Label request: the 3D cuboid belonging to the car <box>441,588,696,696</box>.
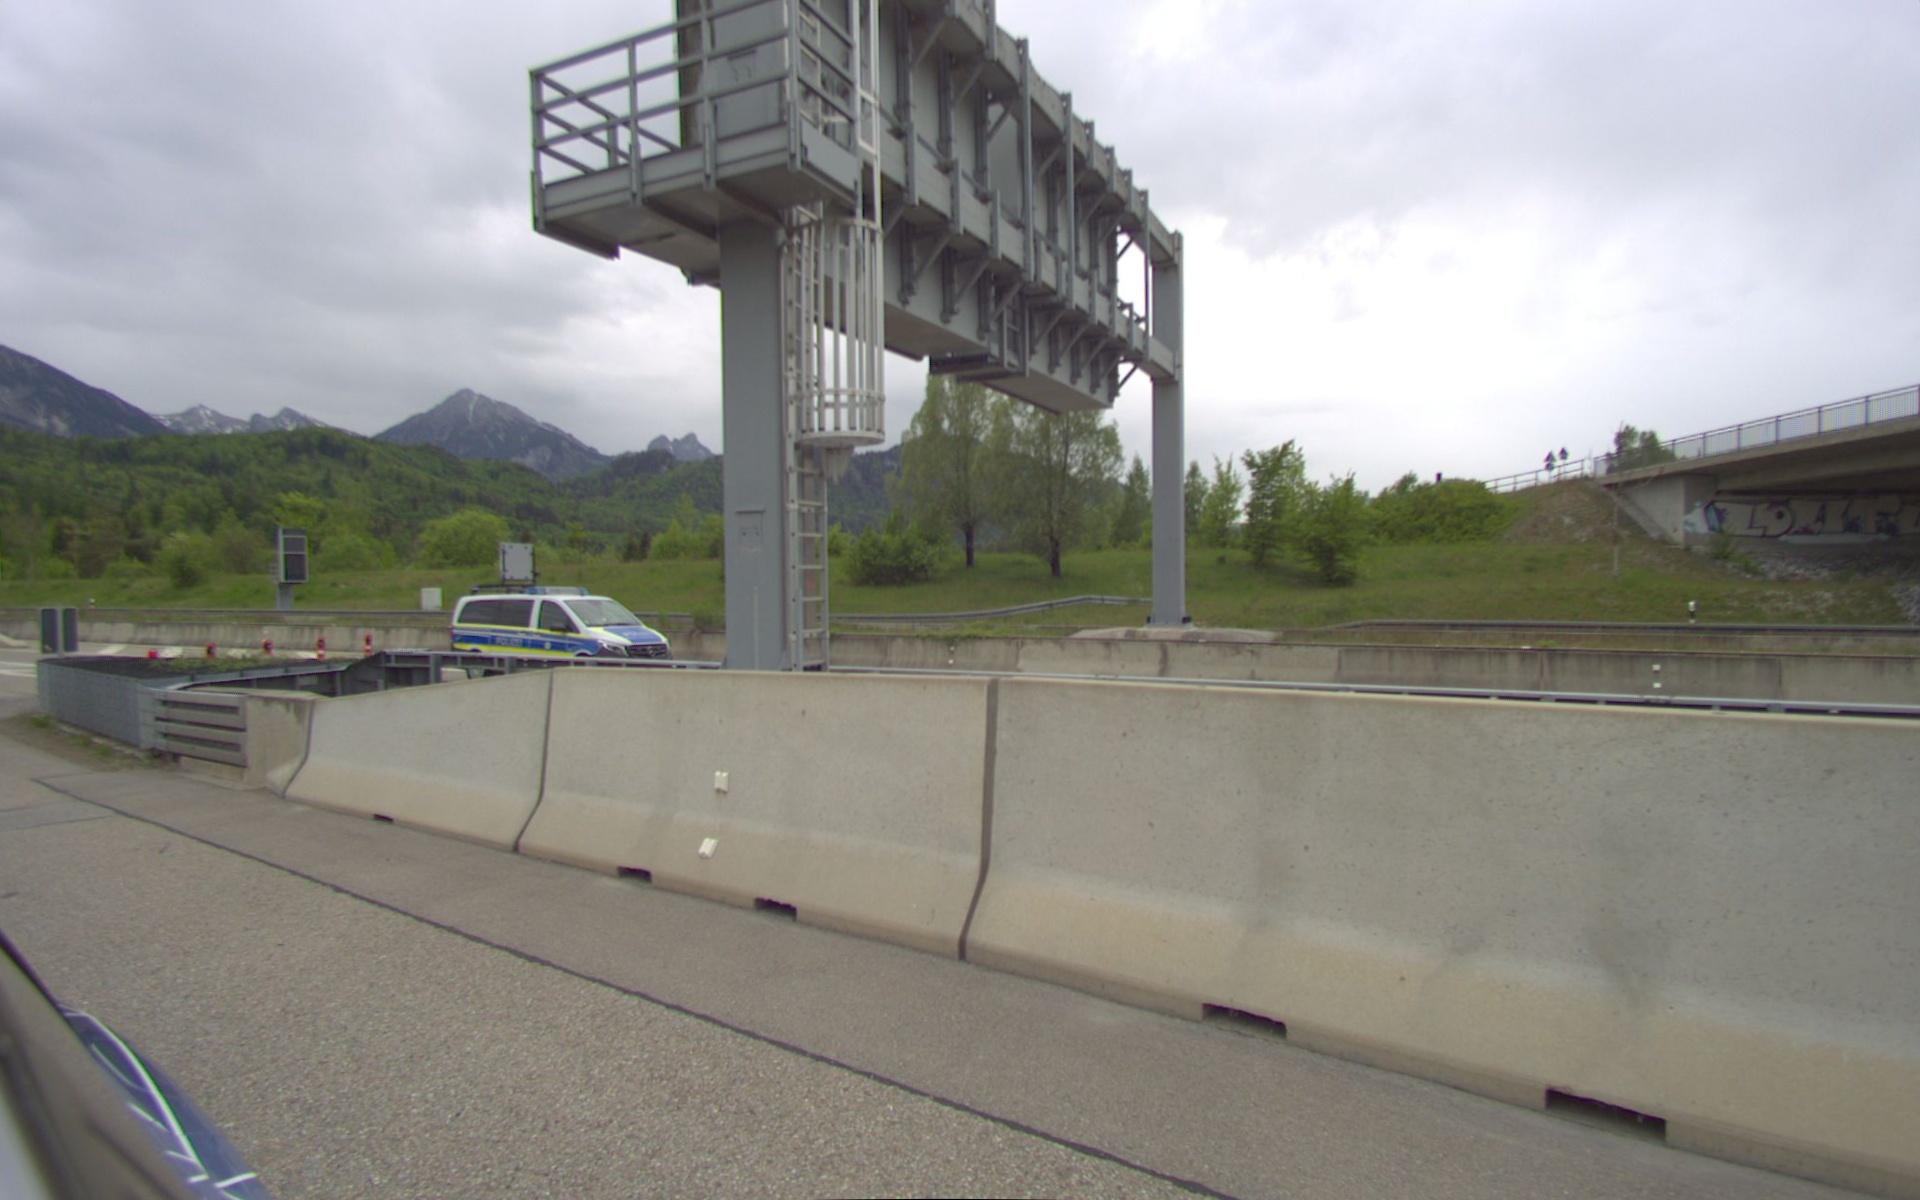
[{"bbox_3d":[-8.197,0.785,21.139,5.025,2.029,2.272,0,0,28],"label":"car"}]
